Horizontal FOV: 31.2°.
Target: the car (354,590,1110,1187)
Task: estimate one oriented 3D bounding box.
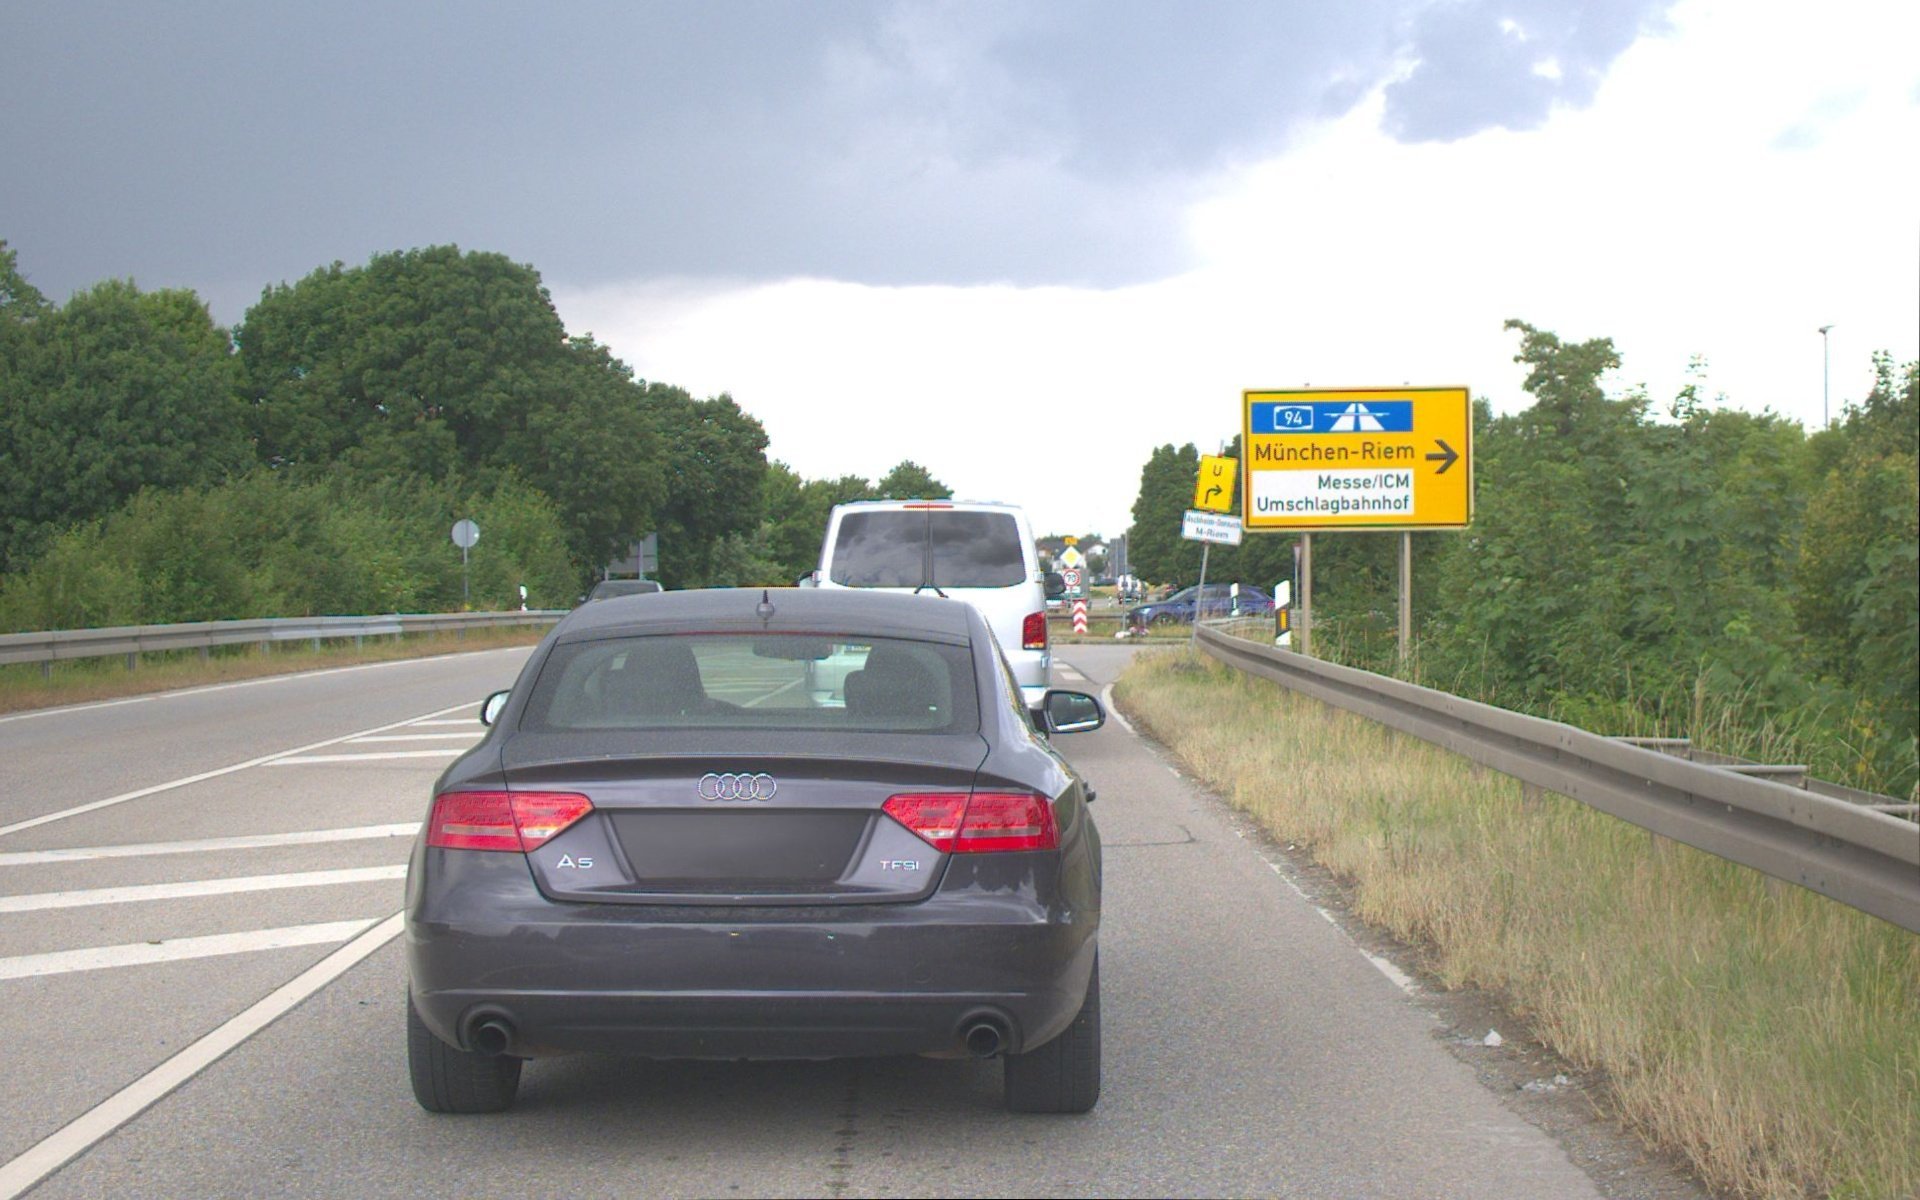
[{"bbox_3d":[-0.558,0.678,9.792,1.779,1.394,3.336,0,0,-1],"label":"car"}]

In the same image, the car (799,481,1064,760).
[{"bbox_3d":[-0.221,0.125,27.120,1.910,2.007,4.000,1,1,0],"label":"car"}]

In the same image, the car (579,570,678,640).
[{"bbox_3d":[-6.779,0.081,70.581,1.622,1.375,4.512,0,1,0],"label":"car"}]
